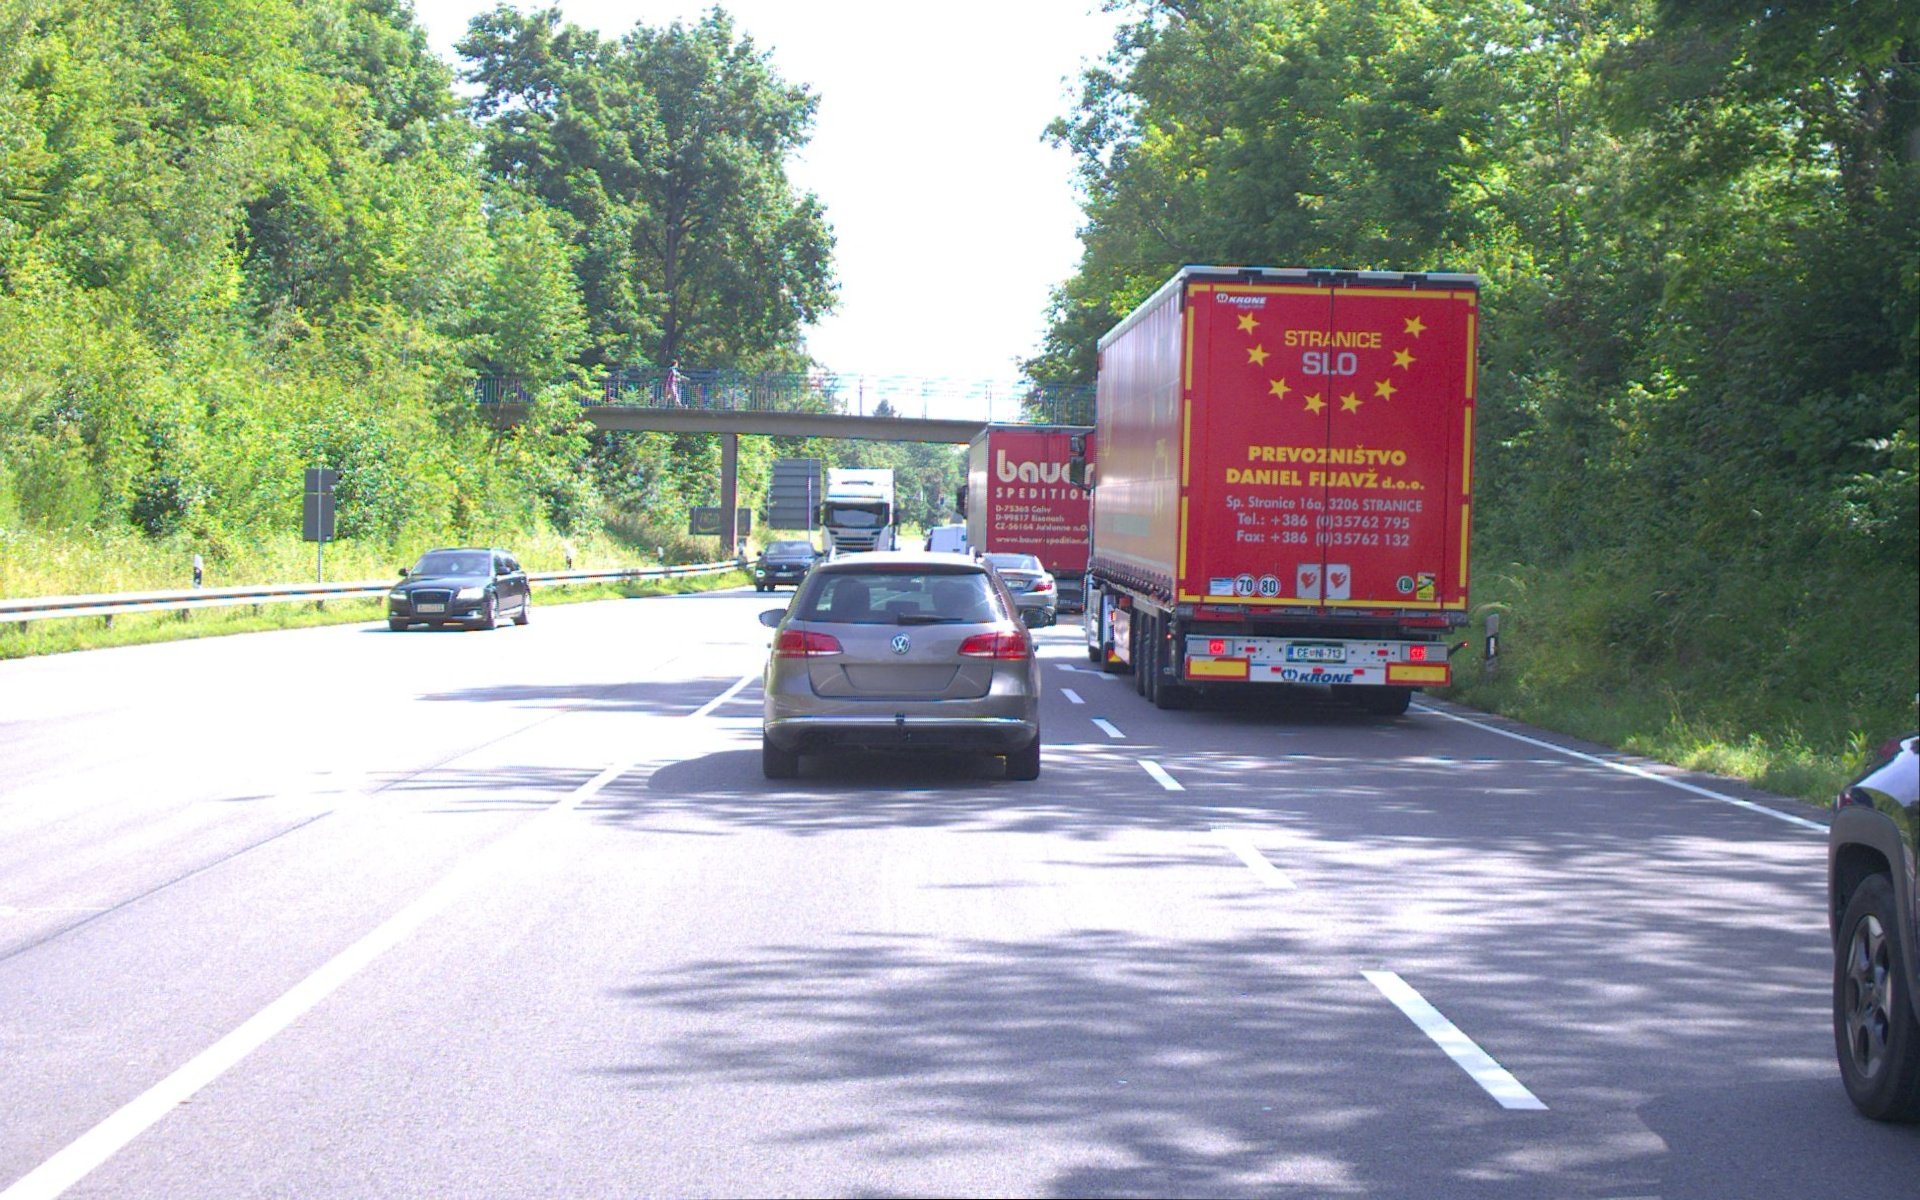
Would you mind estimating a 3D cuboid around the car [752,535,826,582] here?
[{"bbox_3d":[-5.035,-1.221,101.609,1.796,1.341,3.767,0,0,3],"label":"car"}]

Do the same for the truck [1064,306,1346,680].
[{"bbox_3d":[2.945,-1.268,42.963,2.870,4.266,5.839,2,0,-1],"label":"truck"}]

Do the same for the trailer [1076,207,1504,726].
[{"bbox_3d":[3.050,-1.195,36.009,2.839,4.350,13.168,2,0,-1],"label":"trailer"}]

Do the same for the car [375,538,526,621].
[{"bbox_3d":[-8.975,-0.362,60.806,1.963,1.410,4.000,0,0,2],"label":"car"}]

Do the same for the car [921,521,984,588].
[{"bbox_3d":[-0.234,-1.321,101.145,1.770,1.930,3.978,0,0,-1],"label":"car"}]

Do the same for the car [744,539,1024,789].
[{"bbox_3d":[-0.497,0.372,22.860,1.691,1.508,4.000,0,0,-1],"label":"car"}]

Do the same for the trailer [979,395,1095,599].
[{"bbox_3d":[1.737,-2.184,77.956,2.395,4.229,13.077,0,0,1],"label":"trailer"}]

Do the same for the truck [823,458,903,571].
[{"bbox_3d":[-3.530,-3.024,125.017,2.773,3.917,9.467,0,0,-2],"label":"truck"}]

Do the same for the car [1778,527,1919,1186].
[{"bbox_3d":[3.306,0.643,7.927,1.770,1.649,4.000,0,0,-2],"label":"car"}]

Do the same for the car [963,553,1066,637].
[{"bbox_3d":[0.976,-0.110,63.765,1.770,1.508,4.000,0,0,-1],"label":"car"}]
